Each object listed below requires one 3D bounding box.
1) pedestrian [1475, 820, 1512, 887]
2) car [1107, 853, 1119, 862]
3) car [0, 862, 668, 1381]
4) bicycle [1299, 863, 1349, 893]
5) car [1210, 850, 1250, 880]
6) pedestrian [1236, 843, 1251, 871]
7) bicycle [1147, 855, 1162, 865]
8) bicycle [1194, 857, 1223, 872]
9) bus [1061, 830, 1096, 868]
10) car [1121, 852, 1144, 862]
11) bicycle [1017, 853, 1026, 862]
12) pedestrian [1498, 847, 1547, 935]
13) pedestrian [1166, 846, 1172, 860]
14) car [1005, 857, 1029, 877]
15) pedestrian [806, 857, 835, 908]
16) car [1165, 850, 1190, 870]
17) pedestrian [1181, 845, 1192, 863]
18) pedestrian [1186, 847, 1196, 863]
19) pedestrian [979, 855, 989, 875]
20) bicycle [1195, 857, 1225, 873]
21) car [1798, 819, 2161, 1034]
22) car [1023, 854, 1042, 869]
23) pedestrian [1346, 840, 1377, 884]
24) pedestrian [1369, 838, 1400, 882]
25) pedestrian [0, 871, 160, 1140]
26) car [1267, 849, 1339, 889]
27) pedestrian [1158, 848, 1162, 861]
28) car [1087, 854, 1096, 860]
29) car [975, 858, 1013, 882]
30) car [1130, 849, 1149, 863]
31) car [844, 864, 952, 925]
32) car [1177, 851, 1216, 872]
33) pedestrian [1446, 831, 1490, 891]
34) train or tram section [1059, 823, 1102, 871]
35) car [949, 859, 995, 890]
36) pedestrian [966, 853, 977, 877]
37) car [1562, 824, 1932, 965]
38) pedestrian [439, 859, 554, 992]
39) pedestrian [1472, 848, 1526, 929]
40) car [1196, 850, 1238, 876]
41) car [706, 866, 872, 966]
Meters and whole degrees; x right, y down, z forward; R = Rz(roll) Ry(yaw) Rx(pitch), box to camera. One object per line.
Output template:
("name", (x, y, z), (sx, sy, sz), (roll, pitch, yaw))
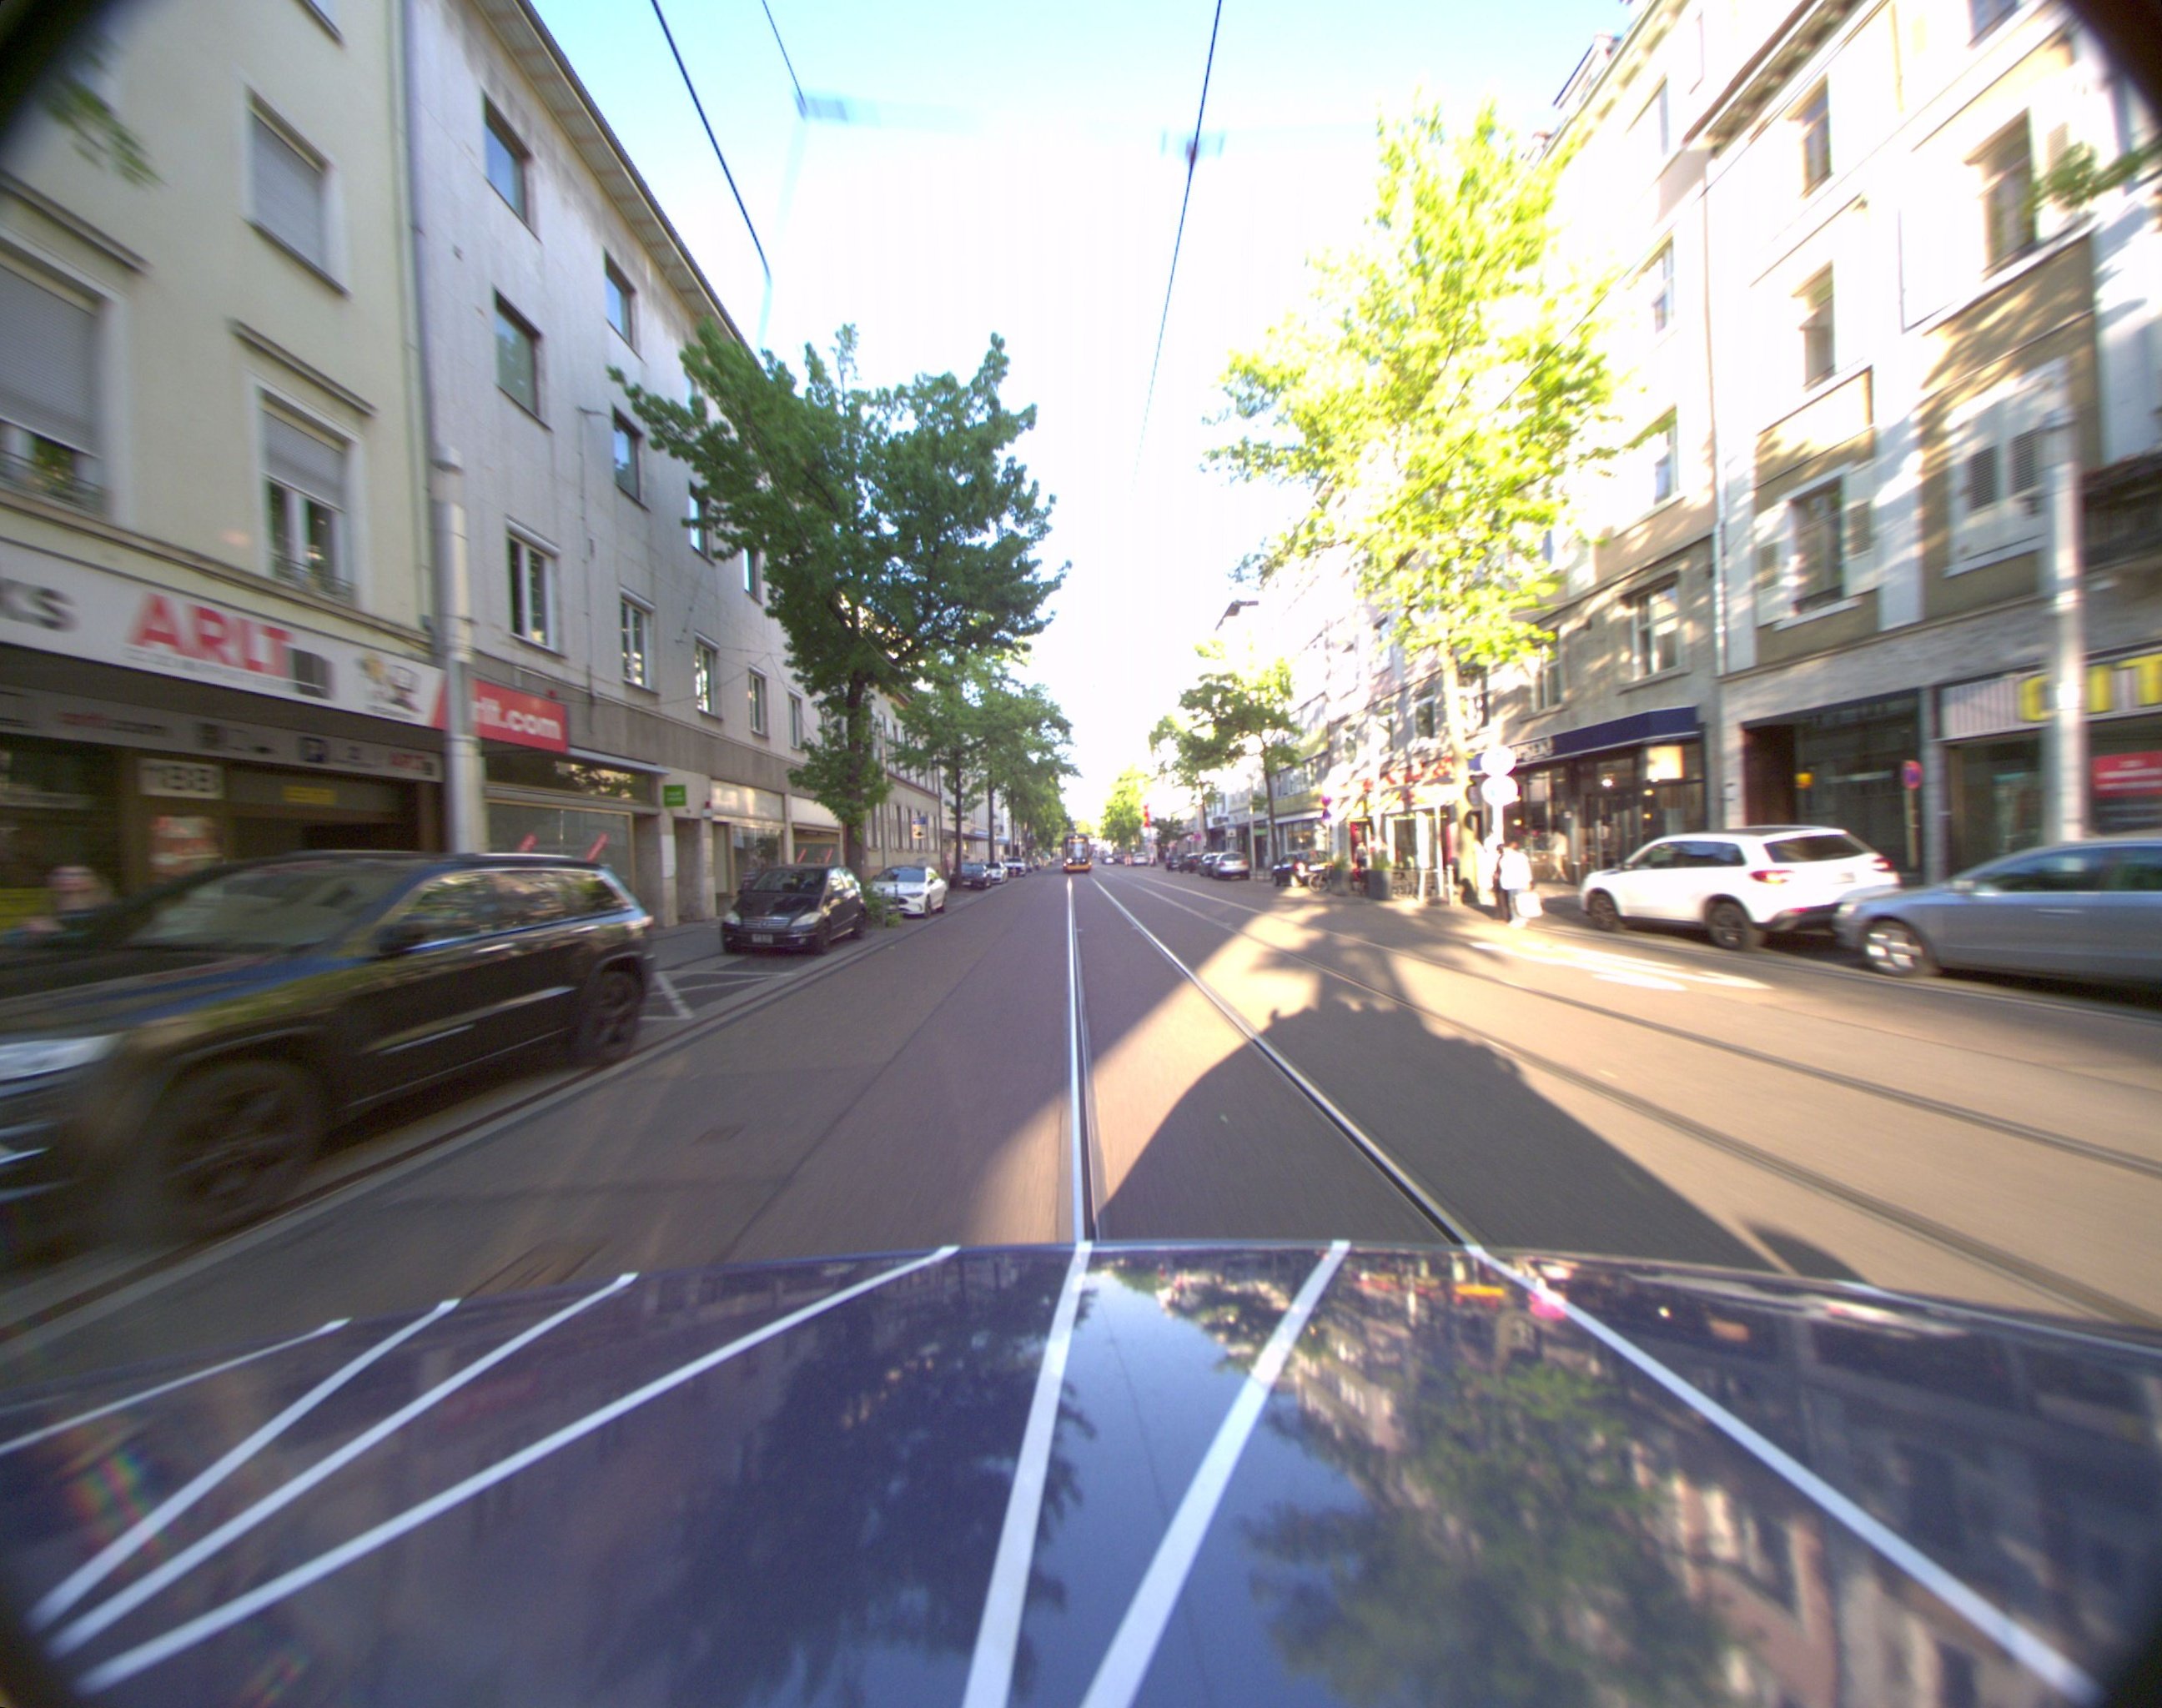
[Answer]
("pedestrian", (12.508, -0.014, 23.063), (0.724, 2.002, 0.642), (-2, 1, -1))
("car", (5.533, 0.630, 131.236), (1.889, 1.602, 4.200), (0, 0, -1))
("car", (-4.810, 0.969, 4.733), (1.943, 1.749, 4.679), (1, 0, -1))
("bicycle", (8.690, 0.844, 27.189), (1.619, 0.960, 0.433), (-4, 0, 5))
("car", (8.161, 0.569, 41.798), (1.770, 1.488, 4.176), (-2, 1, 6))
("pedestrian", (10.984, 0.215, 51.373), (0.661, 1.815, 0.878), (-5, 0, -1))
("bicycle", (8.848, 0.699, 91.530), (1.748, 0.986, 0.478), (-5, 0, 7))
("bicycle", (8.980, 0.721, 53.675), (1.975, 0.995, 0.330), (-2, 1, 2))
("bus", (-0.325, -0.524, 90.327), (3.616, 3.974, 17.482), (-2, 0, -1))
("car", (8.891, 0.523, 130.394), (3.403, 1.551, 1.786), (-5, 1, -23))
("bicycle", (-7.204, 0.404, 91.939), (0.656, 1.064, 1.671), (0, -1, -20))
("pedestrian", (8.056, 0.662, 13.879), (0.522, 1.560, 0.633), (-2, 2, 0))
("pedestrian", (10.877, -0.072, 93.677), (0.643, 1.703, 0.829), (-3, 0, 3))
("car", (-5.553, 1.088, 66.865), (2.003, 1.678, 4.965), (0, 1, -4))
("pedestrian", (-8.617, 0.939, 25.145), (0.659, 1.655, 0.888), (0, 1, -2))
("car", (8.439, 0.524, 66.350), (1.632, 1.606, 3.712), (-4, 0, 14))
("pedestrian", (10.693, 0.002, 77.065), (0.853, 1.756, 0.832), (-2, 0, -3))
("pedestrian", (11.806, 0.121, 81.675), (0.834, 1.685, 1.037), (-5, 0, -1))
("pedestrian", (-7.884, 0.881, 61.842), (0.650, 1.564, 0.798), (-2, 1, -1))
("bicycle", (8.819, 0.744, 51.981), (1.975, 0.995, 0.330), (-2, 1, 2))
("car", (9.345, 0.541, 6.503), (1.841, 1.571, 4.701), (-6, 0, 0))
("car", (-6.215, 0.942, 98.390), (1.956, 1.782, 4.316), (-2, 0, 2))
("pedestrian", (10.921, 0.309, 29.601), (0.846, 1.683, 0.740), (-2, 0, -2))
("pedestrian", (11.986, 0.232, 30.056), (0.791, 1.683, 0.913), (-2, 0, -2))
("pedestrian", (-7.058, 0.963, 5.159), (0.645, 1.660, 0.786), (1, 0, -1))
("car", (9.056, 0.575, 31.263), (1.670, 1.420, 3.826), (-5, 0, -1))
("pedestrian", (13.093, 0.102, 125.696), (0.616, 2.002, 0.592), (-2, 0, -2))
("car", (2.346, 0.648, 169.152), (1.783, 1.399, 4.527), (-2, 0, 0))
("car", (-5.512, 0.992, 48.619), (1.917, 1.412, 4.887), (0, 0, 0))
("car", (7.942, 0.267, 102.931), (1.999, 1.744, 4.744), (-4, 0, -1))
("car", (-5.160, 1.085, 22.148), (1.998, 1.489, 4.679), (1, 0, 0))
("car", (8.763, 0.555, 57.974), (1.797, 1.481, 4.240), (-4, 0, -7))
("pedestrian", (11.757, 0.205, 23.109), (0.724, 1.750, 1.090), (-2, 0, -1))
("train or tram section", (-0.106, -0.569, 73.756), (3.607, 3.974, 15.715), (-2, 0, -1))
("car", (-5.672, 1.032, 40.152), (1.838, 1.469, 4.761), (0, 0, -1))
("pedestrian", (-8.801, 0.858, 61.114), (0.715, 1.876, 1.053), (-1, 0, -1))
("car", (9.546, 0.503, 11.453), (1.841, 1.571, 4.116), (-6, 0, 0))
("pedestrian", (-8.051, 0.953, 10.515), (0.860, 1.743, 0.932), (1, 0, -1))
("pedestrian", (8.059, 0.648, 14.666), (0.621, 1.501, 0.729), (-2, 2, 0))
("car", (8.569, 0.542, 48.207), (1.716, 1.452, 4.485), (-4, 0, 0))
("car", (-5.456, 1.075, 14.755), (1.781, 1.582, 3.891), (1, 0, -1))
